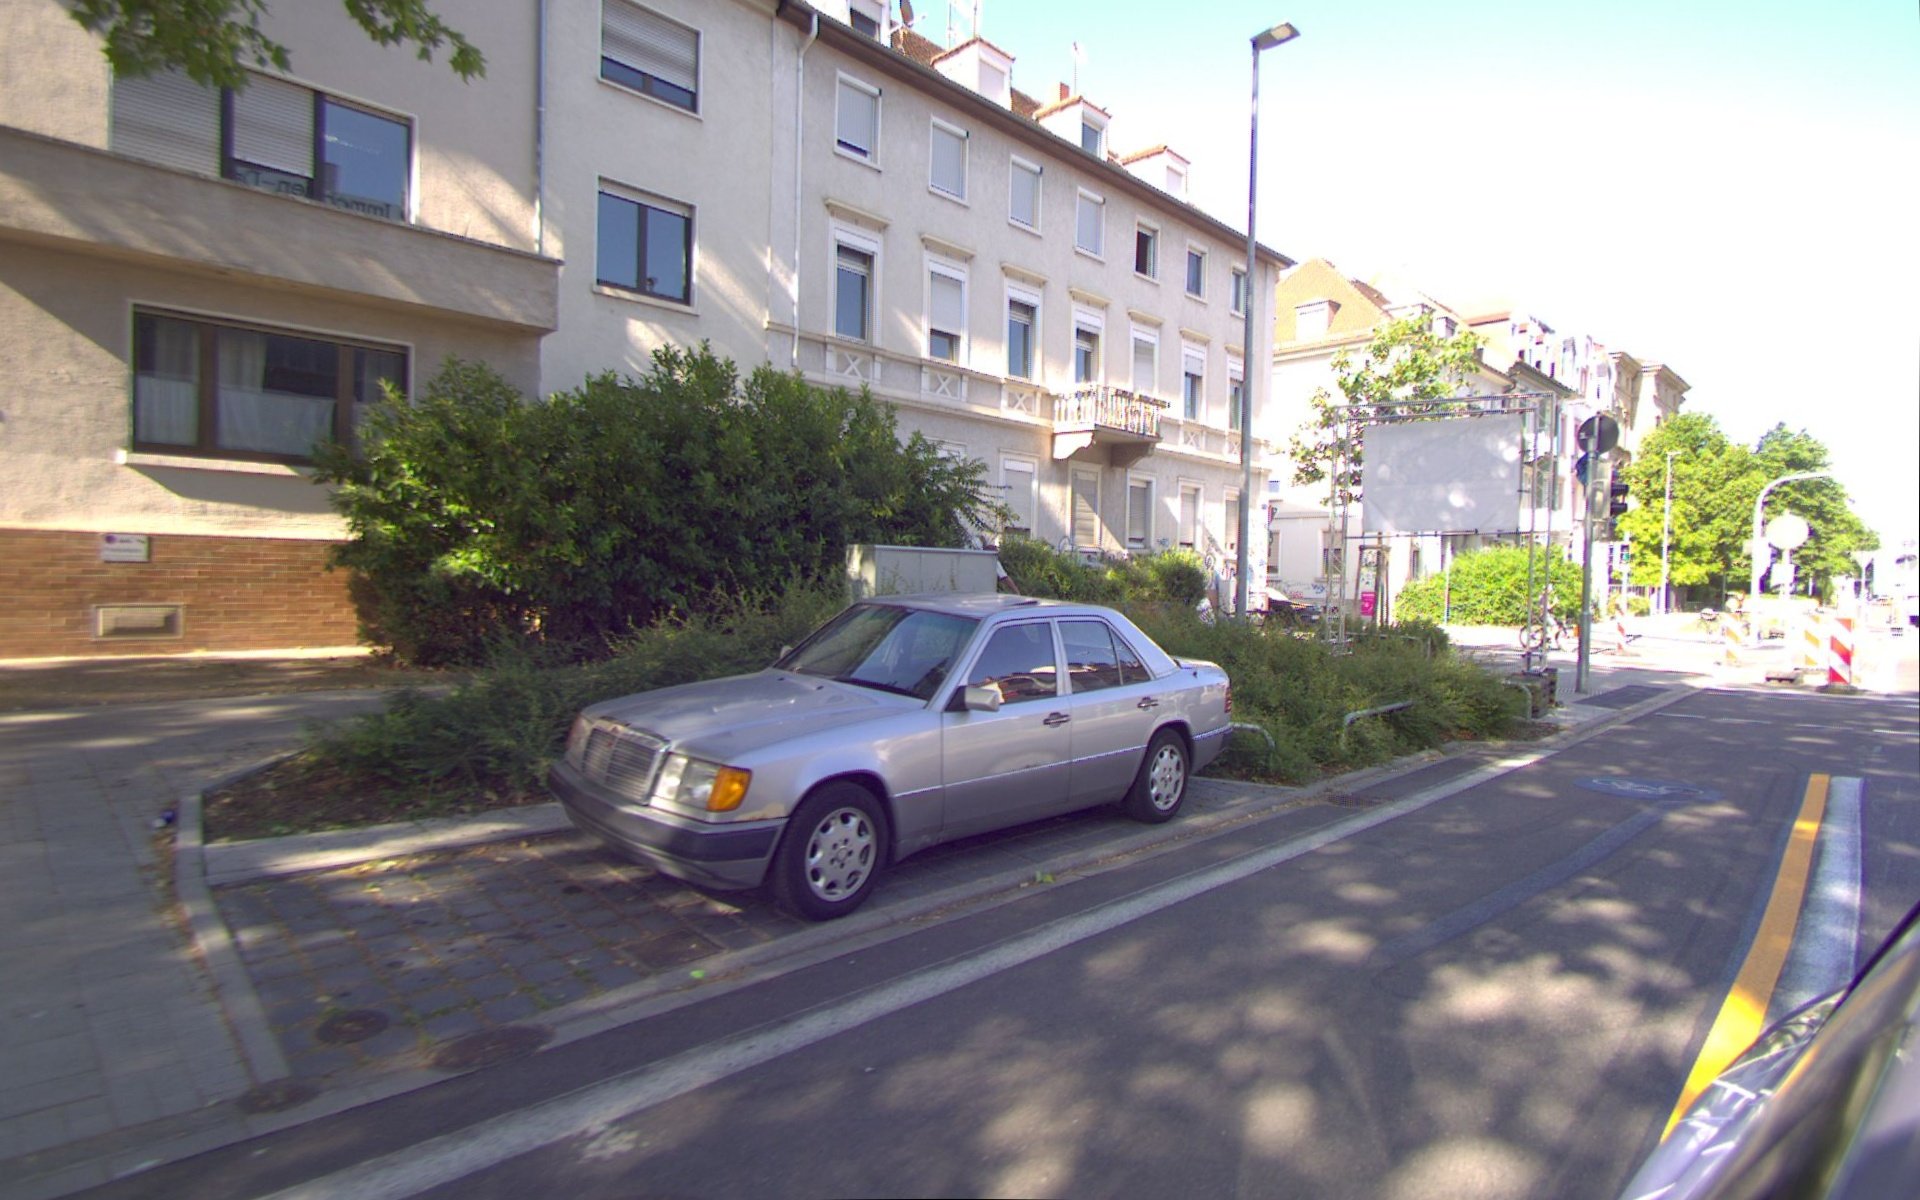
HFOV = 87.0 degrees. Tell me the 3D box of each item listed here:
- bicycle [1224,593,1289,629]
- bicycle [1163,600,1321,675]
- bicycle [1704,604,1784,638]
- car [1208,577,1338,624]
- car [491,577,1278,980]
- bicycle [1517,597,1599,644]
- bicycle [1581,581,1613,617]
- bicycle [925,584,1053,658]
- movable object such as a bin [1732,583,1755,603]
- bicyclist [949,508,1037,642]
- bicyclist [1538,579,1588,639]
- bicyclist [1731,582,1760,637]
[{"bbox_3d":[9.649,0.341,33.004,0.569,1.093,1.999,0,1,-43],"label":"bicycle"},{"bbox_3d":[3.996,0.525,14.379,2.087,1.017,0.590,0,1,-10],"label":"bicycle"},{"bbox_3d":[25.161,0.650,32.502,0.595,1.038,1.963,1,0,-45],"label":"bicycle"},{"bbox_3d":[11.499,-0.028,37.419,1.950,1.639,4.259,-1,1,-39],"label":"car"},{"bbox_3d":[-0.025,0.636,6.213,1.852,1.498,4.865,2,2,43],"label":"car"},{"bbox_3d":[15.823,0.537,26.801,1.658,1.111,0.689,3,1,8],"label":"bicycle"},{"bbox_3d":[26.844,-0.026,42.618,0.708,1.462,2.452,0,-1,43],"label":"bicycle"},{"bbox_3d":[0.435,0.268,14.466,1.792,0.978,0.783,0,1,-43],"label":"bicycle"},{"bbox_3d":[59.022,-0.523,76.247,0.962,1.415,1.278,4,2,22],"label":"movable object such as a bin"},{"bbox_3d":[0.479,-0.354,14.500,1.053,1.843,0.724,0,1,-44],"label":"bicyclist"},{"bbox_3d":[15.957,0.233,26.801,0.857,1.518,0.724,2,1,9],"label":"bicyclist"},{"bbox_3d":[25.169,0.296,32.421,0.604,1.730,0.844,2,1,45],"label":"bicyclist"}]
